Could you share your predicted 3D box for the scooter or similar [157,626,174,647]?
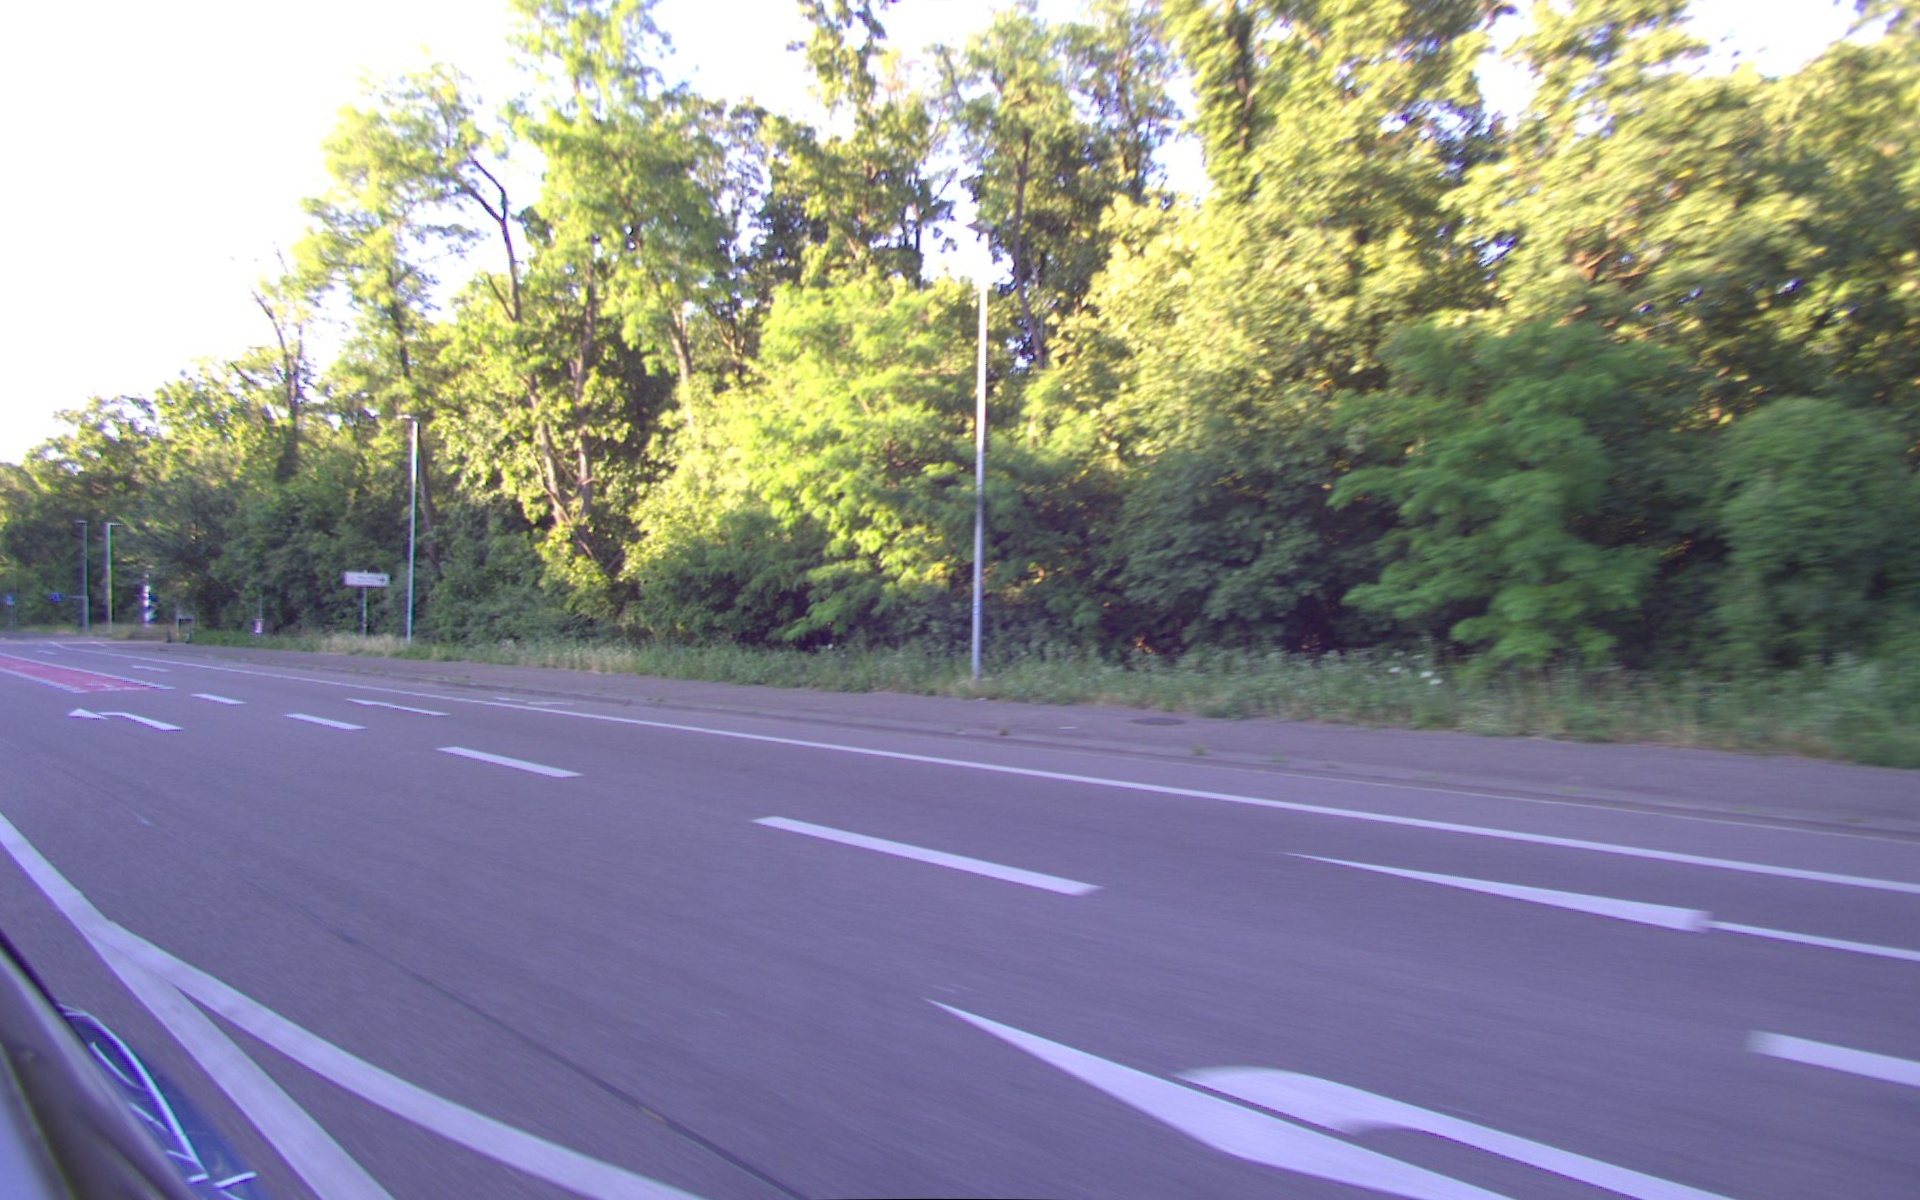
[{"bbox_3d":[-44.122,2.018,56.197,0.356,1.118,0.881,0,-1,-8],"label":"scooter or similar"}]
